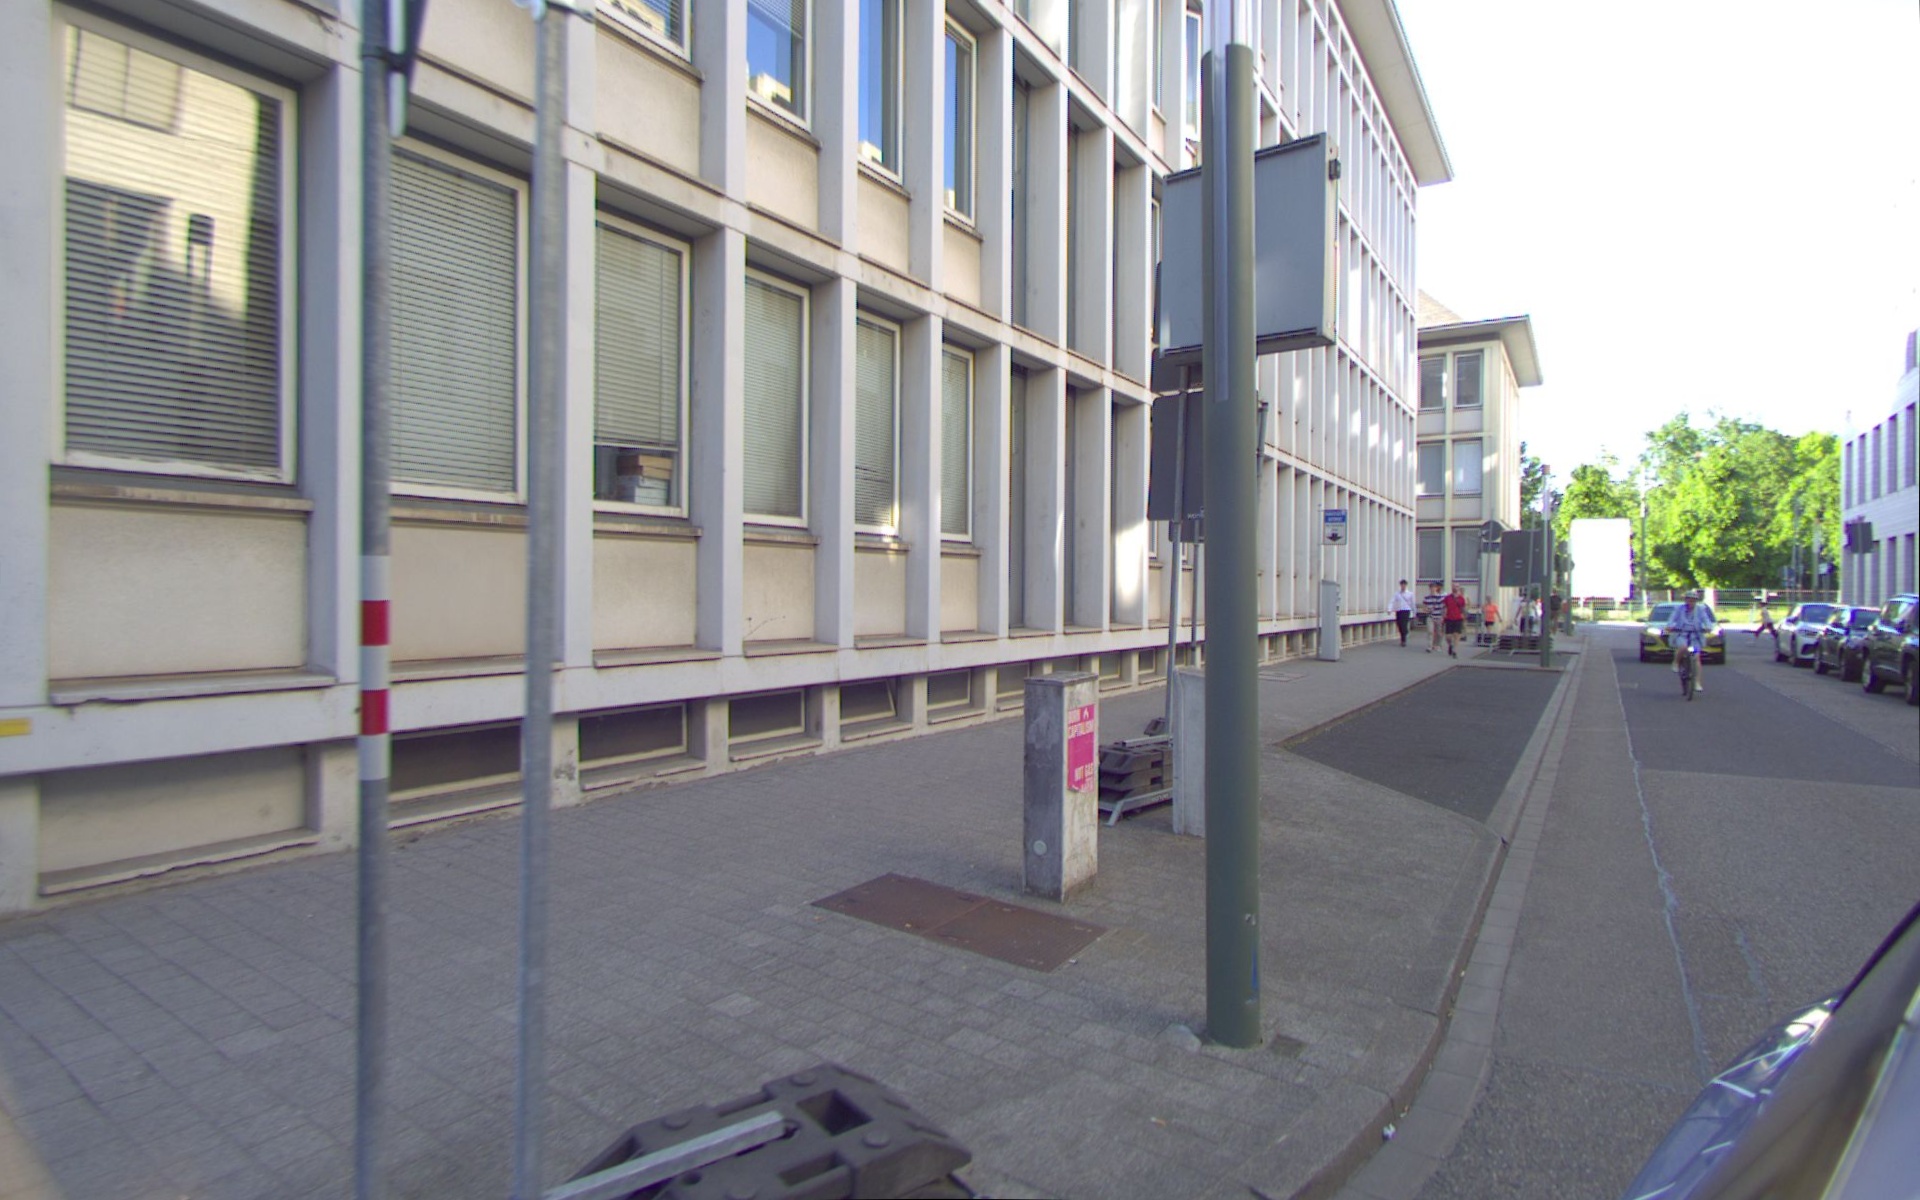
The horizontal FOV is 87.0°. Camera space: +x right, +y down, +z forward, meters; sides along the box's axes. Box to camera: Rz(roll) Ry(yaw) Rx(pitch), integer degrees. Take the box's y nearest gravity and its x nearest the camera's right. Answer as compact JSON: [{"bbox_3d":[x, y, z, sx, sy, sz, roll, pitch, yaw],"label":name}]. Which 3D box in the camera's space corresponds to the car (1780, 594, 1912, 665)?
[{"bbox_3d":[22.014,0.681,25.324,1.815,1.561,4.394,2,1,33],"label":"car"}]

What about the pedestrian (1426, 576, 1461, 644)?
[{"bbox_3d":[13.012,0.261,27.237,0.681,1.801,0.685,3,1,35],"label":"pedestrian"}]

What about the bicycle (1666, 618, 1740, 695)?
[{"bbox_3d":[12.034,0.872,16.445,0.590,1.097,2.289,-1,1,27],"label":"bicycle"}]

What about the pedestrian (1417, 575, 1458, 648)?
[{"bbox_3d":[12.341,0.296,26.165,0.681,1.799,0.685,7,4,35],"label":"pedestrian"}]

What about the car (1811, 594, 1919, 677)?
[{"bbox_3d":[19.298,0.687,21.007,1.813,1.561,4.216,0,0,31],"label":"car"}]

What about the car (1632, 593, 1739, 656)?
[{"bbox_3d":[19.135,0.589,26.866,1.984,1.478,4.387,0,1,32],"label":"car"}]

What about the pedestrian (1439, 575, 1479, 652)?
[{"bbox_3d":[12.056,0.313,24.438,0.681,1.800,0.586,4,2,35],"label":"pedestrian"}]

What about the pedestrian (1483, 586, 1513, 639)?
[{"bbox_3d":[17.314,0.399,32.556,0.681,1.656,0.685,4,2,35],"label":"pedestrian"}]

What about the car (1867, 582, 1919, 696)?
[{"bbox_3d":[15.910,0.630,15.811,1.814,1.736,3.973,3,1,31],"label":"car"}]

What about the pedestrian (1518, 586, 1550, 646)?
[{"bbox_3d":[17.540,0.478,30.921,0.681,1.736,0.685,5,2,35],"label":"pedestrian"}]

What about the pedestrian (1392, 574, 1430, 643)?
[{"bbox_3d":[12.342,0.231,27.682,0.681,1.799,0.685,7,4,35],"label":"pedestrian"}]

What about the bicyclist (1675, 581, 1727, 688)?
[{"bbox_3d":[12.027,0.545,16.434,0.580,1.710,0.533,-1,0,28],"label":"bicyclist"}]

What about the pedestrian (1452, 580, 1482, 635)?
[{"bbox_3d":[16.553,0.234,33.043,0.681,1.736,0.685,5,2,35],"label":"pedestrian"}]

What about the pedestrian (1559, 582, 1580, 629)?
[{"bbox_3d":[24.304,0.201,40.361,0.639,1.811,0.569,3,2,34],"label":"pedestrian"}]
